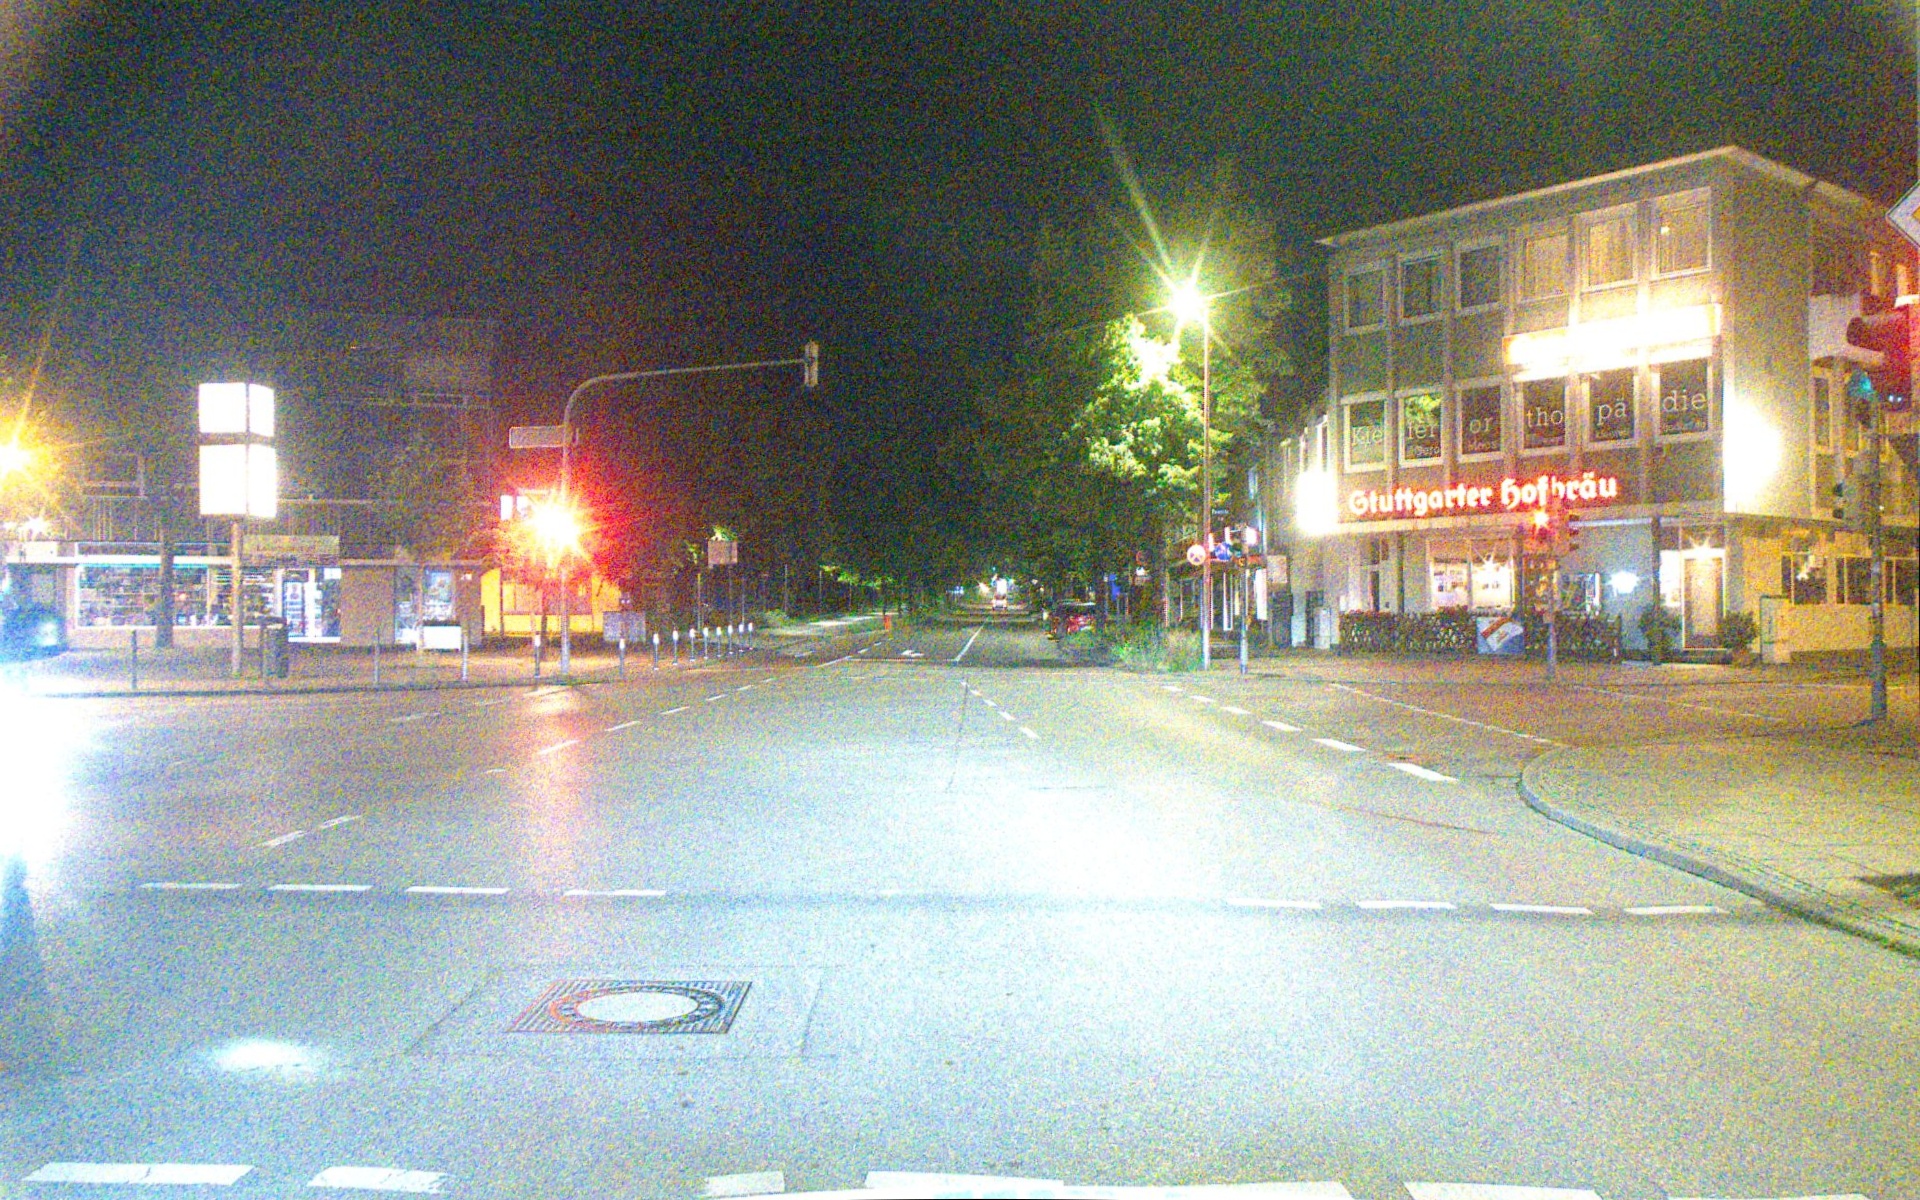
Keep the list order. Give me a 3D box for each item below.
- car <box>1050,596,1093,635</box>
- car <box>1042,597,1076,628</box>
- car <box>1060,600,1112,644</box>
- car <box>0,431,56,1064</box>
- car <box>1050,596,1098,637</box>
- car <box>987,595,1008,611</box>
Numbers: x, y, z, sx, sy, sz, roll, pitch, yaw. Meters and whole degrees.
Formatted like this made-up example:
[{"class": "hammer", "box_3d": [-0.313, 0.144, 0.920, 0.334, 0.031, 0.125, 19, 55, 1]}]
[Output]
[{"class": "car", "box_3d": [5.147, 0.715, 76.528, 1.837, 1.759, 4.001, 0, 0, 2]}, {"class": "car", "box_3d": [5.647, 0.723, 94.612, 1.837, 1.713, 4.001, 0, 0, 2]}, {"class": "car", "box_3d": [4.837, 0.820, 63.728, 1.837, 1.643, 4.001, 0, 0, 2]}, {"class": "car", "box_3d": [-4.791, 0.460, 6.697, 1.945, 1.904, 4.865, 0, 0, -28]}, {"class": "car", "box_3d": [4.723, 0.685, 68.851, 1.837, 1.643, 4.001, 0, 0, 2]}, {"class": "car", "box_3d": [4.003, 0.362, 175.926, 2.181, 1.680, 4.000, 0, 0, 0]}]
